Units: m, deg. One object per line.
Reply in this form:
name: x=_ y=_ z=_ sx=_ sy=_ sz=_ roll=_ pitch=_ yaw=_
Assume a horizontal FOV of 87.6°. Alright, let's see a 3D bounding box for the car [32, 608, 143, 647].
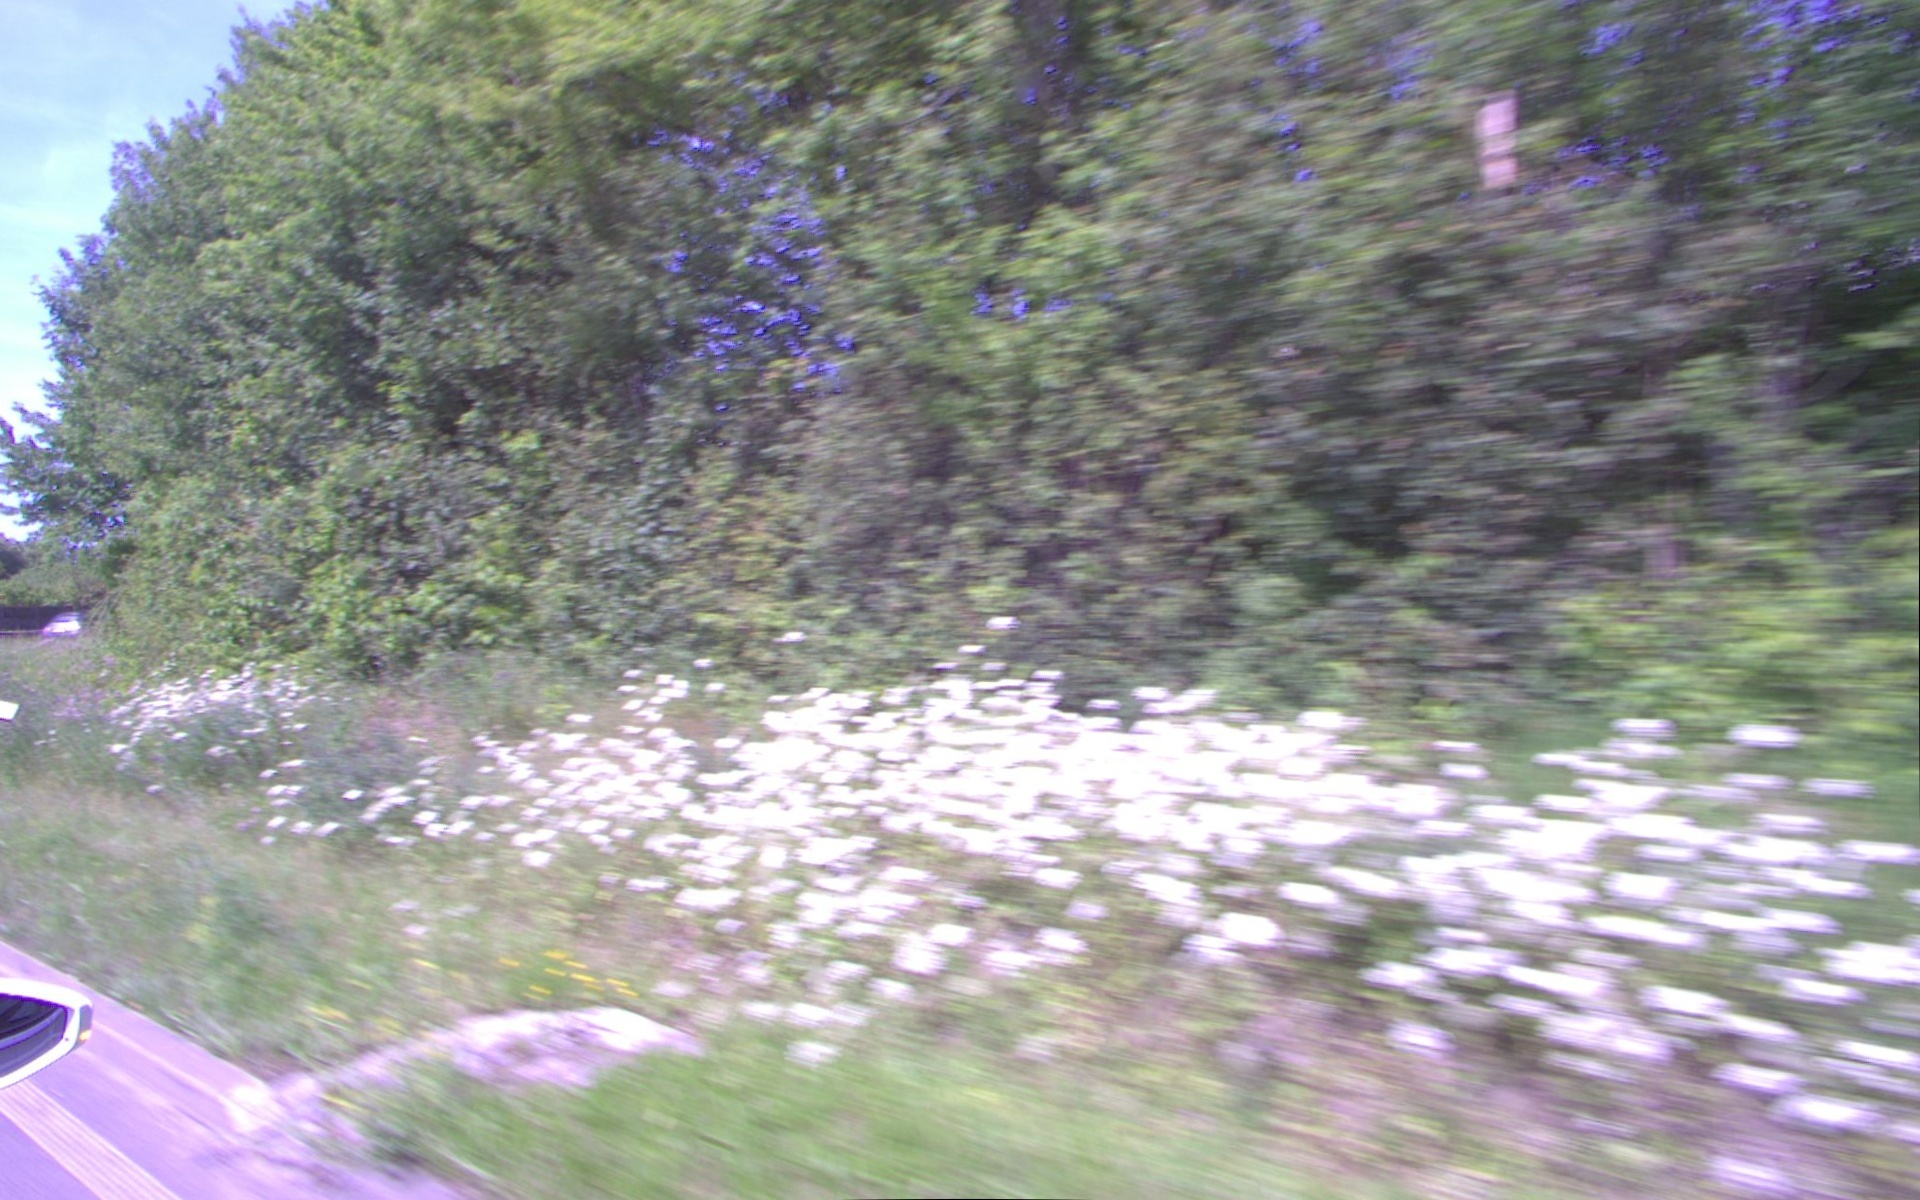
car: x=-36.871 y=1.141 z=42.441 sx=1.640 sy=1.506 sz=3.997 roll=-1 pitch=0 yaw=-10
